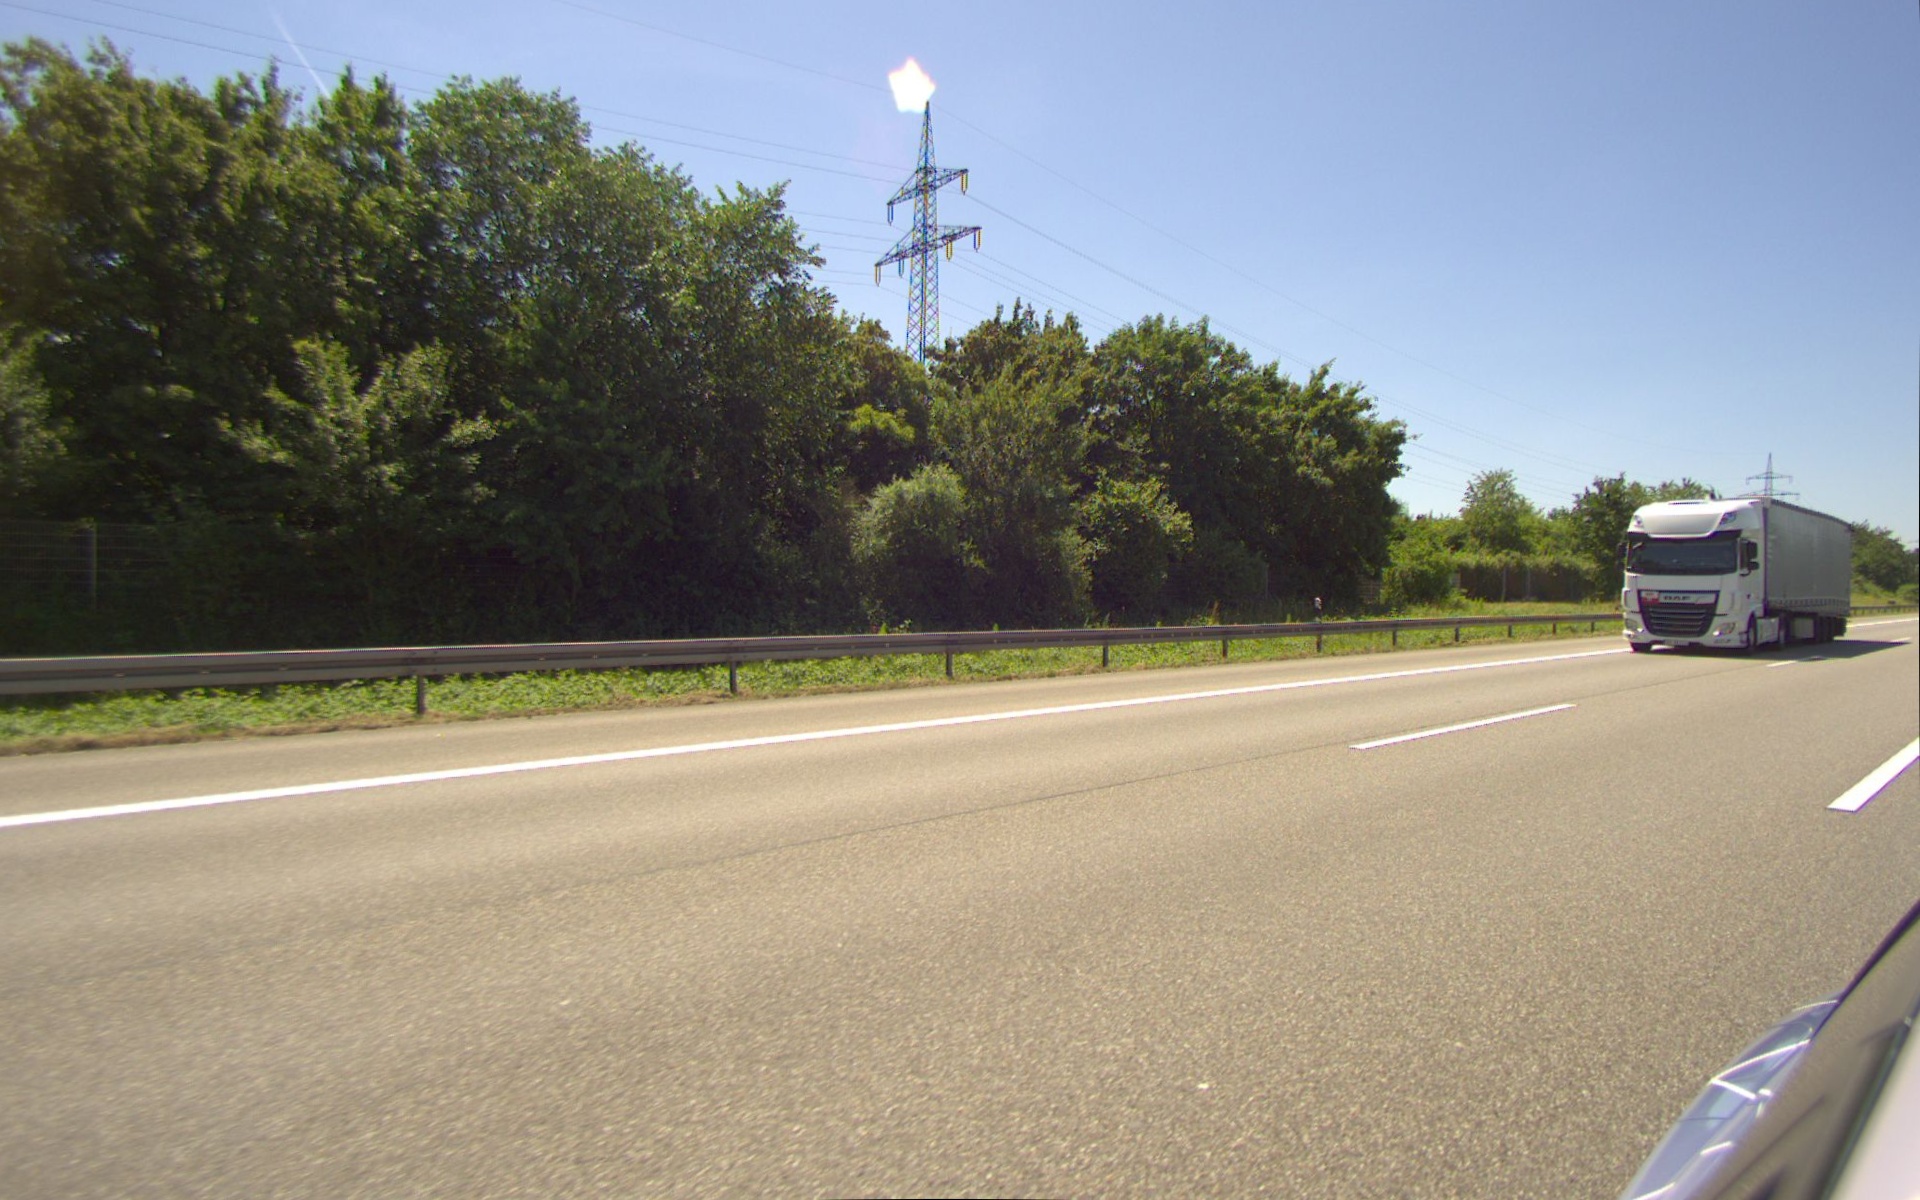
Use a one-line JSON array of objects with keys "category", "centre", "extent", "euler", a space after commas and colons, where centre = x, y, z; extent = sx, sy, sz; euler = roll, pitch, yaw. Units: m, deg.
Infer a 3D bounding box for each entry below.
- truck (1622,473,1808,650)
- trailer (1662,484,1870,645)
[{"category": "truck", "centre": [20.209, -0.942, 26.967], "extent": [6.017, 4.171, 2.741], "euler": [0, 1, -41]}, {"category": "trailer", "centre": [25.387, -0.972, 31.462], "extent": [12.892, 4.158, 2.741], "euler": [0, 1, -41]}]
